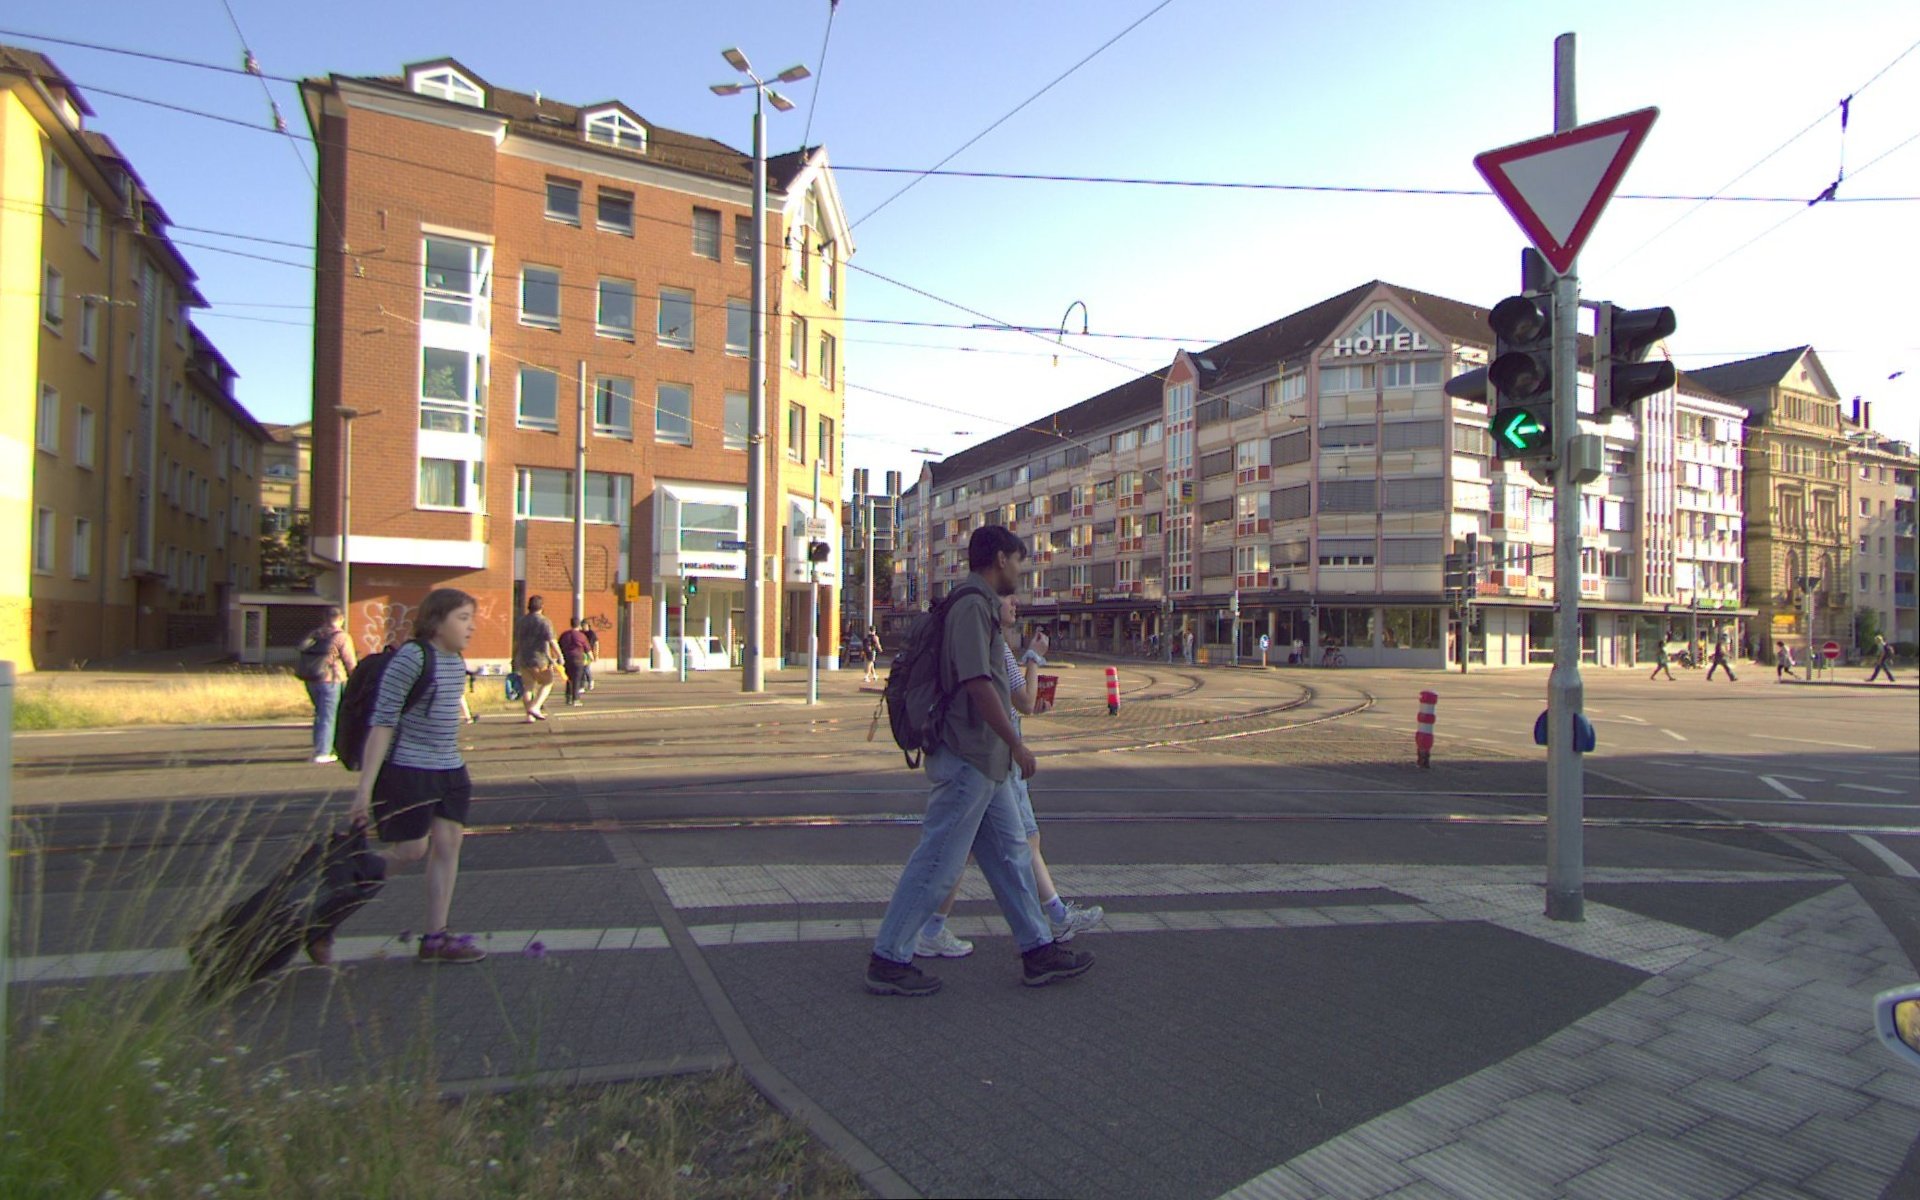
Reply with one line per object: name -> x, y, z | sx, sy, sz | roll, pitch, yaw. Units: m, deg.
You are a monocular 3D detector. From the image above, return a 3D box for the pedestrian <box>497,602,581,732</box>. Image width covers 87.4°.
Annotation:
pedestrian -> -6.026, 0.940, 14.425 | 0.761, 1.781, 0.900 | 2, 0, 1

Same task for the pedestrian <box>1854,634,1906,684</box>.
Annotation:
pedestrian -> 33.785, 2.154, 36.894 | 0.847, 1.754, 1.188 | 2, 0, -32

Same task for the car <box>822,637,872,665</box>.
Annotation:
car -> -6.070, 2.691, 53.693 | 1.724, 1.261, 3.918 | 2, 0, -21

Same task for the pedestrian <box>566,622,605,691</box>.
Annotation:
pedestrian -> -8.958, 1.358, 24.050 | 0.829, 1.605, 0.680 | 2, 0, -21

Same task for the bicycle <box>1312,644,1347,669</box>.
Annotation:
bicycle -> 18.861, 2.894, 51.317 | 1.745, 1.160, 0.637 | -1, 1, -25

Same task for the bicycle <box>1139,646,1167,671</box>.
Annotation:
bicycle -> 11.834, 3.562, 61.601 | 0.577, 1.385, 2.081 | 0, 0, -26

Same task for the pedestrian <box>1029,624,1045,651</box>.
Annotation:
pedestrian -> 5.032, 2.453, 65.582 | 0.773, 1.682, 0.677 | 2, 0, -34

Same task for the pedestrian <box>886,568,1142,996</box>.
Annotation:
pedestrian -> 0.266, 0.716, 4.467 | 0.883, 1.662, 0.788 | 2, 0, 22

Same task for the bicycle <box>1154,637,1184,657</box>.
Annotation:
bicycle -> 13.555, 3.029, 65.183 | 0.719, 1.243, 2.320 | 2, -2, -22

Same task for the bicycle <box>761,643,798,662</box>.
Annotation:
bicycle -> -9.214, 2.677, 51.280 | 1.812, 0.974, 0.540 | 2, 0, -26

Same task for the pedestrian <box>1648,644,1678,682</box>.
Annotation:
pedestrian -> 27.935, 2.509, 39.915 | 0.847, 1.472, 0.701 | 2, 0, -33

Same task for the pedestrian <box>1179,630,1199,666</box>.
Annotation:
pedestrian -> 11.566, 2.434, 50.792 | 0.503, 1.787, 1.000 | 2, 0, 42

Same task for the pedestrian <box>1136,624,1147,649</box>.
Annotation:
pedestrian -> 12.550, 2.512, 69.456 | 0.598, 1.657, 0.604 | 2, 0, 18

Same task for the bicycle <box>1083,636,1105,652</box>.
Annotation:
bicycle -> 10.053, 3.315, 75.491 | 1.629, 1.134, 0.480 | 2, 0, -29

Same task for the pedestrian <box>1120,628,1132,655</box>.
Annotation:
pedestrian -> 11.894, 2.980, 72.066 | 0.601, 1.877, 0.601 | 2, 0, -18

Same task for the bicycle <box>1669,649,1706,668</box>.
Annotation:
bicycle -> 43.446, 3.483, 59.984 | 2.055, 1.085, 0.451 | 2, 0, -11

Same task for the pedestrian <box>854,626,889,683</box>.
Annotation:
pedestrian -> -2.854, 1.763, 32.451 | 0.823, 1.781, 0.687 | 2, 0, -42

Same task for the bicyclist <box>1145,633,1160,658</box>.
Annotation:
bicyclist -> 11.808, 2.770, 61.631 | 0.559, 1.501, 0.733 | 0, 0, -27

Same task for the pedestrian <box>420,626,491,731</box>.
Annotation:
pedestrian -> -6.943, 1.062, 13.850 | 0.585, 1.378, 0.608 | 4, -2, -2

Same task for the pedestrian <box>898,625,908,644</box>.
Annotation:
pedestrian -> -6.201, 3.750, 109.820 | 0.828, 2.040, 0.774 | 2, 0, -19

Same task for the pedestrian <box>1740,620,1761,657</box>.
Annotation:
pedestrian -> 53.071, 2.569, 67.437 | 0.952, 2.430, 0.919 | 2, 0, -39

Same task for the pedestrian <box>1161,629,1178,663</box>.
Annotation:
pedestrian -> 10.947, 2.405, 52.467 | 0.612, 1.717, 0.866 | 2, 0, 30

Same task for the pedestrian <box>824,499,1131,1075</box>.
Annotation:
pedestrian -> 0.108, 0.599, 3.712 | 0.882, 1.824, 0.788 | 2, -2, 16

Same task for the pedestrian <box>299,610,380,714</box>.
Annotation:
pedestrian -> -9.934, 0.971, 16.102 | 0.825, 1.605, 0.683 | 2, 0, -1

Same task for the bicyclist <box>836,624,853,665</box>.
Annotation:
bicyclist -> -5.460, 2.116, 47.586 | 0.625, 1.904, 0.807 | 2, 0, -18

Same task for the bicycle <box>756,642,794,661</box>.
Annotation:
bicycle -> -9.570, 2.671, 52.023 | 1.812, 0.974, 0.540 | 2, 0, -26

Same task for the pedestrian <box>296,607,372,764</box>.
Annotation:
pedestrian -> -6.543, 0.860, 10.512 | 0.612, 1.556, 0.781 | 2, 0, -32

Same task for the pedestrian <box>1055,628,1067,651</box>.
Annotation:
pedestrian -> 8.010, 3.149, 79.699 | 0.804, 1.802, 0.680 | 2, 0, 2

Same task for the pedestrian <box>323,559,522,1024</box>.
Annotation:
pedestrian -> -2.179, 0.690, 4.082 | 0.612, 1.662, 0.782 | 2, 0, -30

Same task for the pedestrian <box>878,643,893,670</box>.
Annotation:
pedestrian -> -4.560, 3.435, 61.555 | 0.612, 1.599, 0.687 | 2, 0, 42

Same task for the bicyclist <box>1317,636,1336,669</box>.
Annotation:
bicyclist -> 18.720, 2.666, 51.243 | 0.649, 1.618, 0.637 | -1, 1, -24

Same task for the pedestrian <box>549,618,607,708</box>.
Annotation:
pedestrian -> -7.022, 1.143, 18.473 | 0.783, 1.609, 0.600 | 2, 0, -44

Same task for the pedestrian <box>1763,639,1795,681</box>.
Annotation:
pedestrian -> 30.580, 2.234, 37.498 | 0.842, 1.483, 0.685 | 2, -5, 33

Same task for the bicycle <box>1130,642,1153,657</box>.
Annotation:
bicycle -> 12.263, 3.327, 67.906 | 0.494, 0.929, 2.068 | 2, -2, -22

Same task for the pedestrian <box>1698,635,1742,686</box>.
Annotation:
pedestrian -> 30.428, 2.410, 40.209 | 0.847, 1.909, 1.188 | -1, 1, -32

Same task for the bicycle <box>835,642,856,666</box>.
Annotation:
bicycle -> -5.433, 2.540, 47.451 | 0.625, 1.062, 1.830 | 2, 0, -17

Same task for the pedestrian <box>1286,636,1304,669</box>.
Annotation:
pedestrian -> 17.536, 2.739, 52.575 | 0.705, 1.684, 0.631 | -1, -2, 38
